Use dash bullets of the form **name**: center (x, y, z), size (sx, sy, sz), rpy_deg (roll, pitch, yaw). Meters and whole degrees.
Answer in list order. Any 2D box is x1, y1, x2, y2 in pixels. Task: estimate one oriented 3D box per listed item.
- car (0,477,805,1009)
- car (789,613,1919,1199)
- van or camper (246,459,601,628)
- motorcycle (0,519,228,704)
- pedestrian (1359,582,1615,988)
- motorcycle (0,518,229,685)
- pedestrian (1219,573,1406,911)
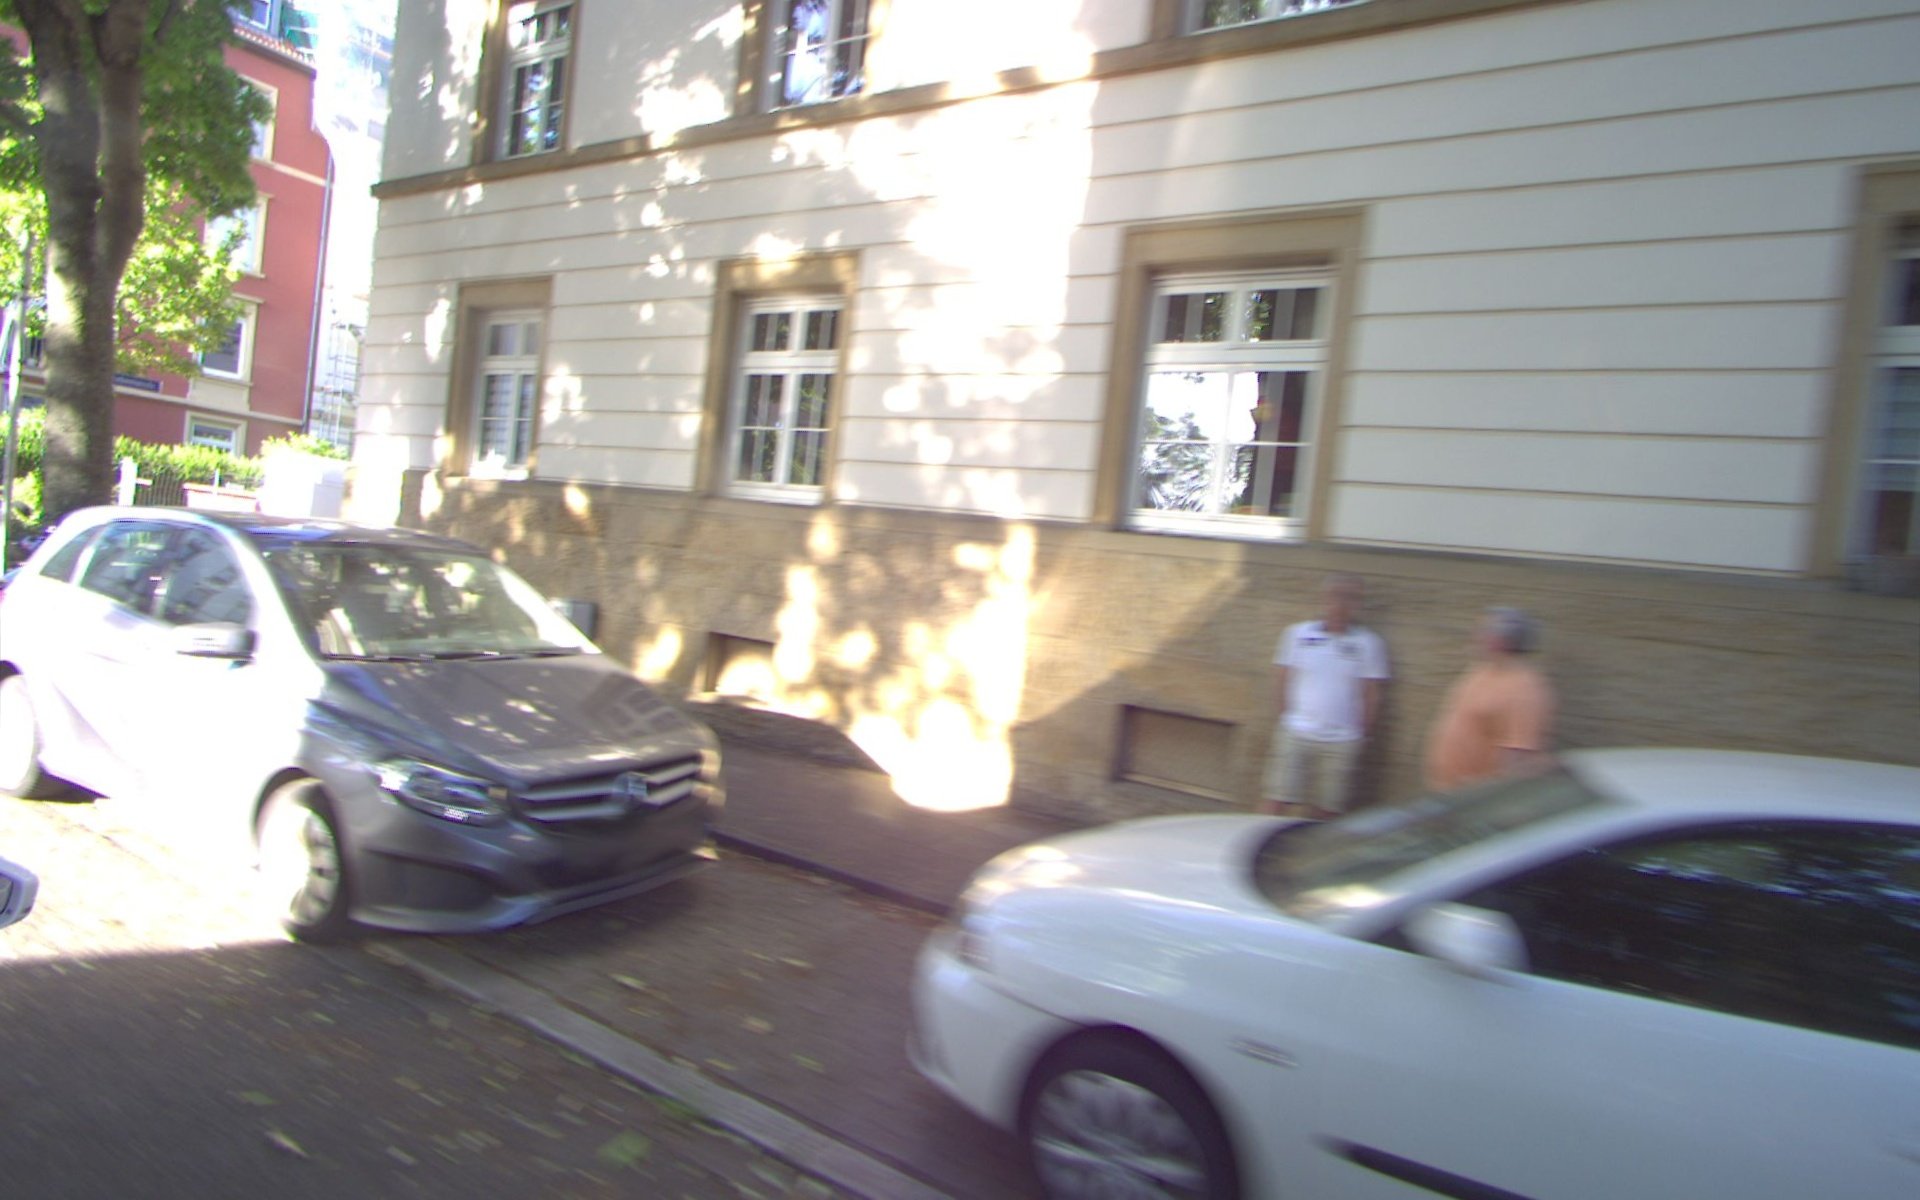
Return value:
- **car**: center (-3.136, 0.376, 5.085), size (4.333, 1.570, 1.792), rpy_deg (7, 1, 28)
- **car**: center (1.642, 1.030, 2.657), size (3.802, 1.497, 1.613), rpy_deg (7, 1, 27)
- **van or camper**: center (-10.279, -0.983, 19.727), size (2.113, 2.477, 5.580), rpy_deg (10, 3, 40)
- **motorcycle**: center (-6.695, 0.089, 7.768), size (0.609, 1.283, 1.503), rpy_deg (8, 2, 30)
- **pedestrian**: center (2.559, 0.824, 4.946), size (0.859, 1.717, 0.778), rpy_deg (7, 3, 28)
- **motorcycle**: center (-7.274, 0.030, 8.349), size (1.844, 1.283, 0.498), rpy_deg (5, 3, -45)
- **pedestrian**: center (1.985, 0.752, 5.674), size (0.744, 1.728, 0.490), rpy_deg (7, 3, 30)
